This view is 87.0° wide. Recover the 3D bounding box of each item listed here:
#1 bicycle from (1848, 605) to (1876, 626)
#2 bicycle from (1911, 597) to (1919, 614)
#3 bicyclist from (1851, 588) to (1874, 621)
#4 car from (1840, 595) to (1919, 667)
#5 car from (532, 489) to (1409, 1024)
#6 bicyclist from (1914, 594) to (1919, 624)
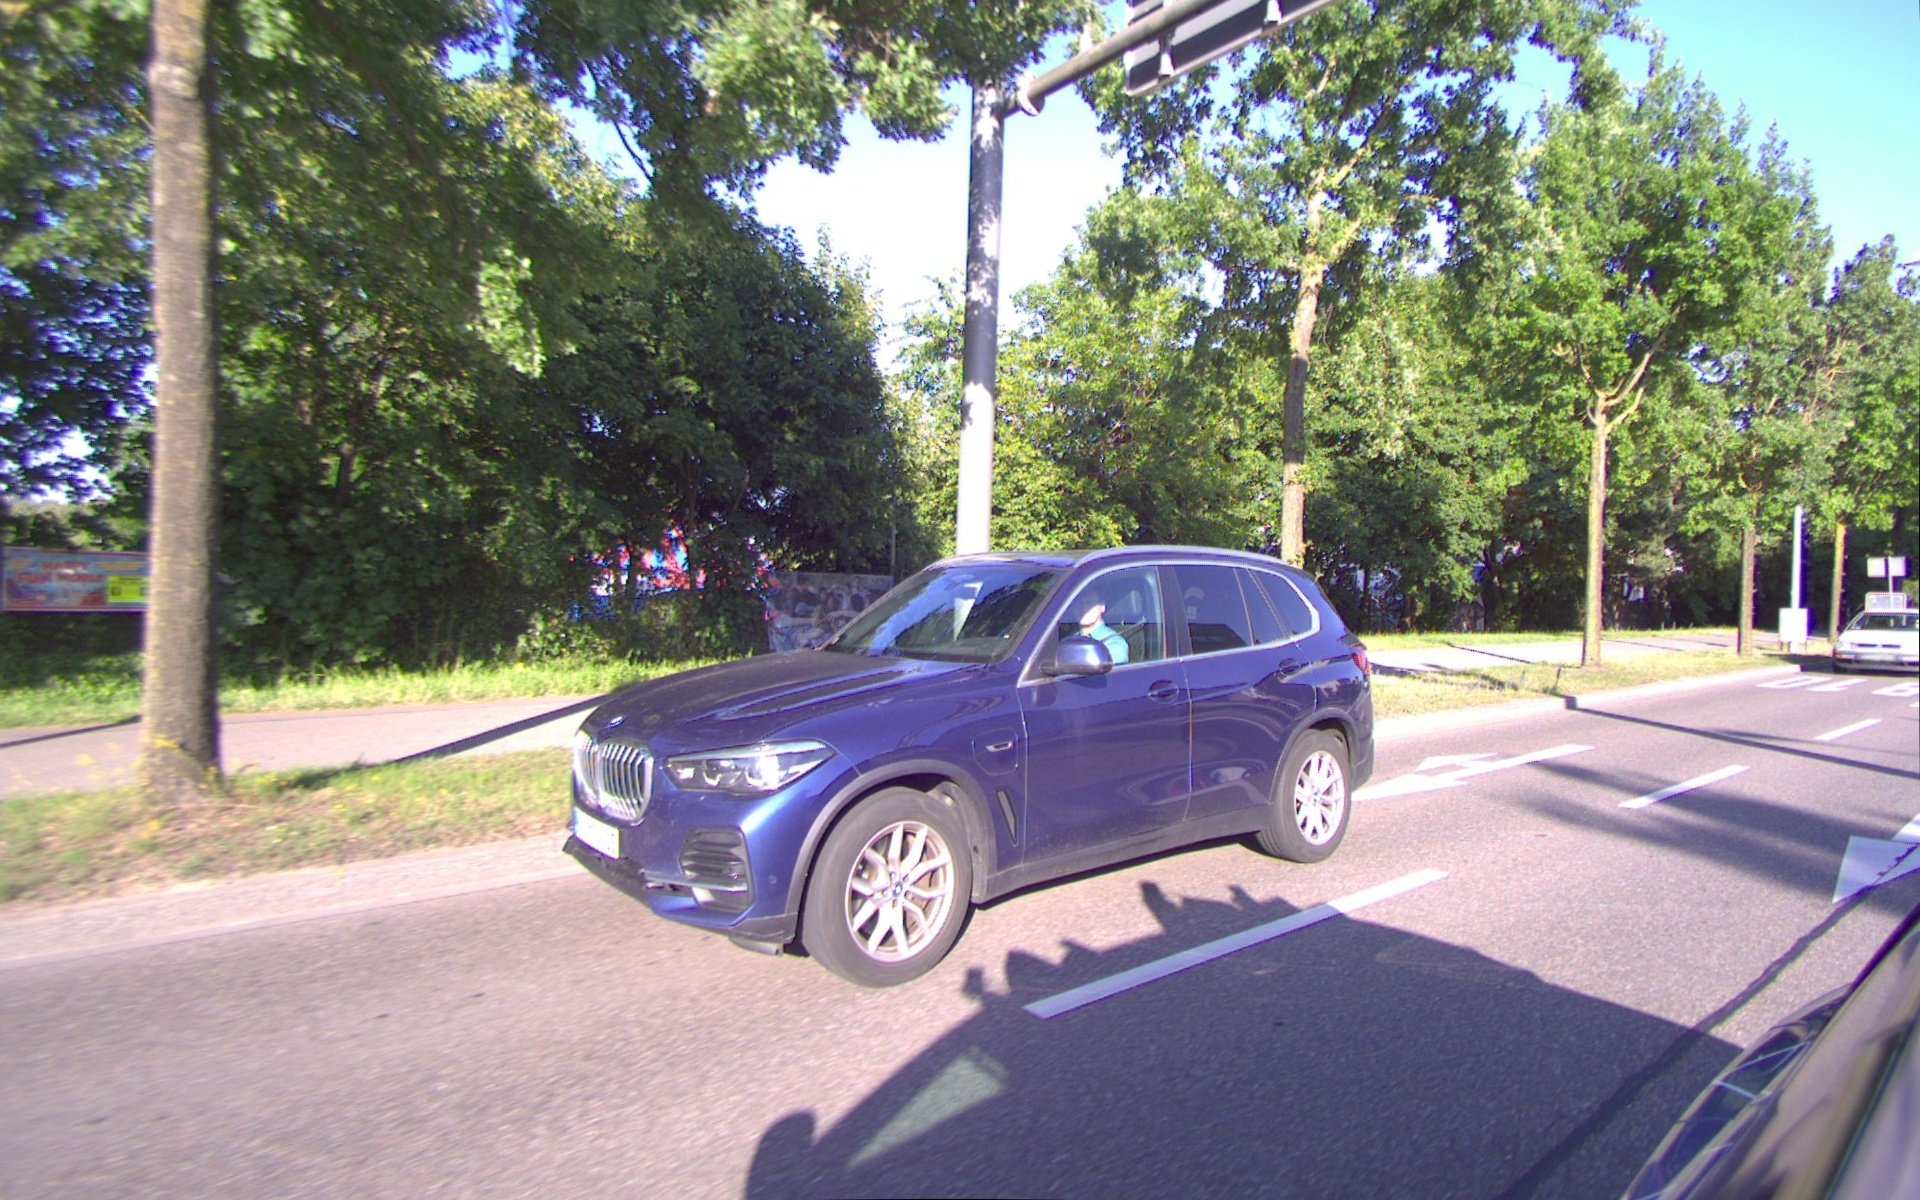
[{"bbox_3d":[42.774,0.730,47.986,1.788,0.986,0.618,1,1,-37],"label":"bicycle"},{"bbox_3d":[55.452,0.317,58.301,2.020,0.986,0.618,1,1,-37],"label":"bicycle"},{"bbox_3d":[42.779,0.220,47.972,0.832,1.520,0.615,1,0,-37],"label":"bicyclist"},{"bbox_3d":[20.479,0.669,21.715,3.962,1.416,1.615,2,0,-37],"label":"car"},{"bbox_3d":[0.351,0.494,5.527,4.614,1.748,1.959,0,0,-39],"label":"car"},{"bbox_3d":[55.611,0.527,58.429,0.832,1.755,0.605,1,0,-37],"label":"bicyclist"}]
